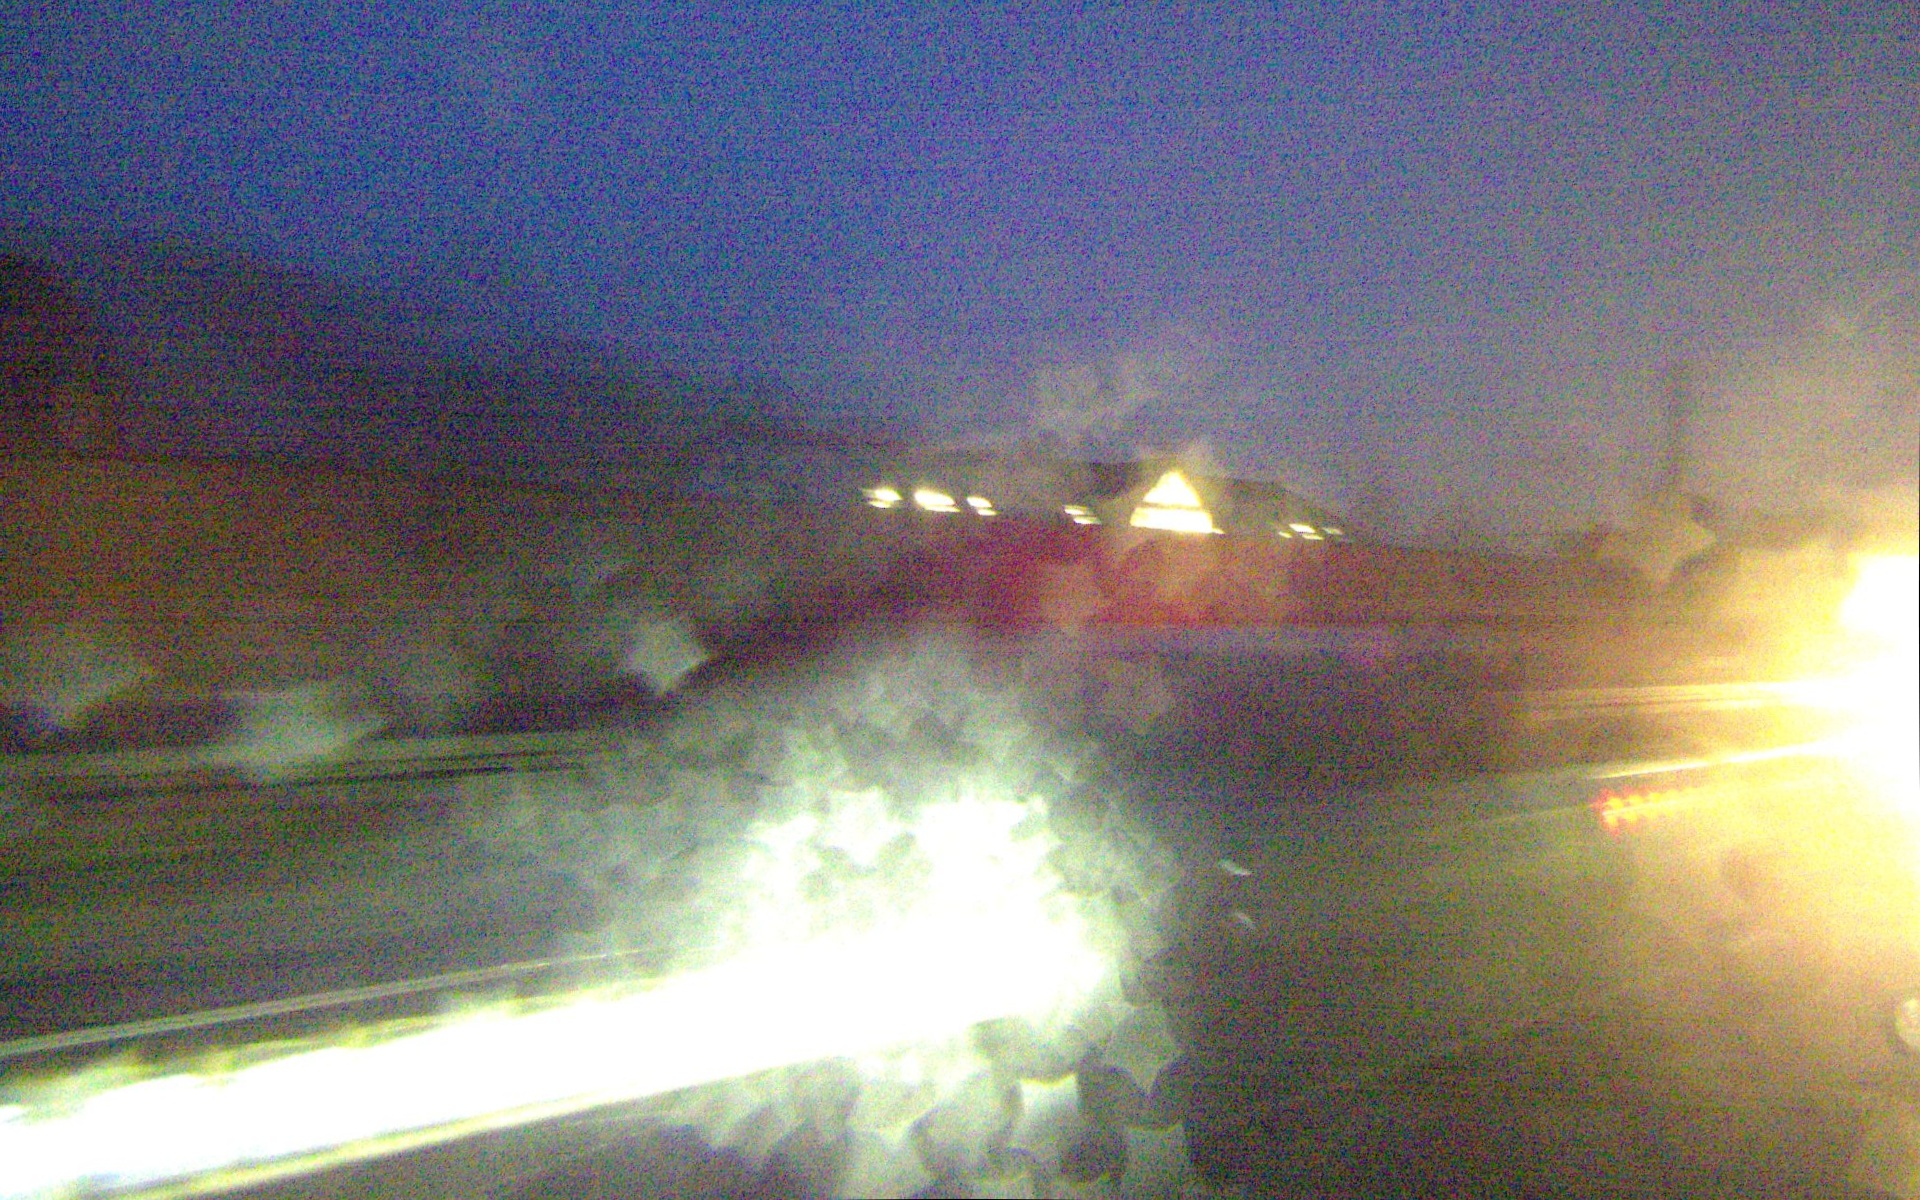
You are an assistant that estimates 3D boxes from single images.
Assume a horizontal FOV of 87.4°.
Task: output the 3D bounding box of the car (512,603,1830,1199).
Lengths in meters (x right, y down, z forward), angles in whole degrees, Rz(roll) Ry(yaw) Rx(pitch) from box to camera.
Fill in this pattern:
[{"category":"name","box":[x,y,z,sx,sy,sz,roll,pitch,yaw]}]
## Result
[{"category":"car","box":[0.944,0.768,3.661,4.540,1.412,1.984,1,0,-30]}]
